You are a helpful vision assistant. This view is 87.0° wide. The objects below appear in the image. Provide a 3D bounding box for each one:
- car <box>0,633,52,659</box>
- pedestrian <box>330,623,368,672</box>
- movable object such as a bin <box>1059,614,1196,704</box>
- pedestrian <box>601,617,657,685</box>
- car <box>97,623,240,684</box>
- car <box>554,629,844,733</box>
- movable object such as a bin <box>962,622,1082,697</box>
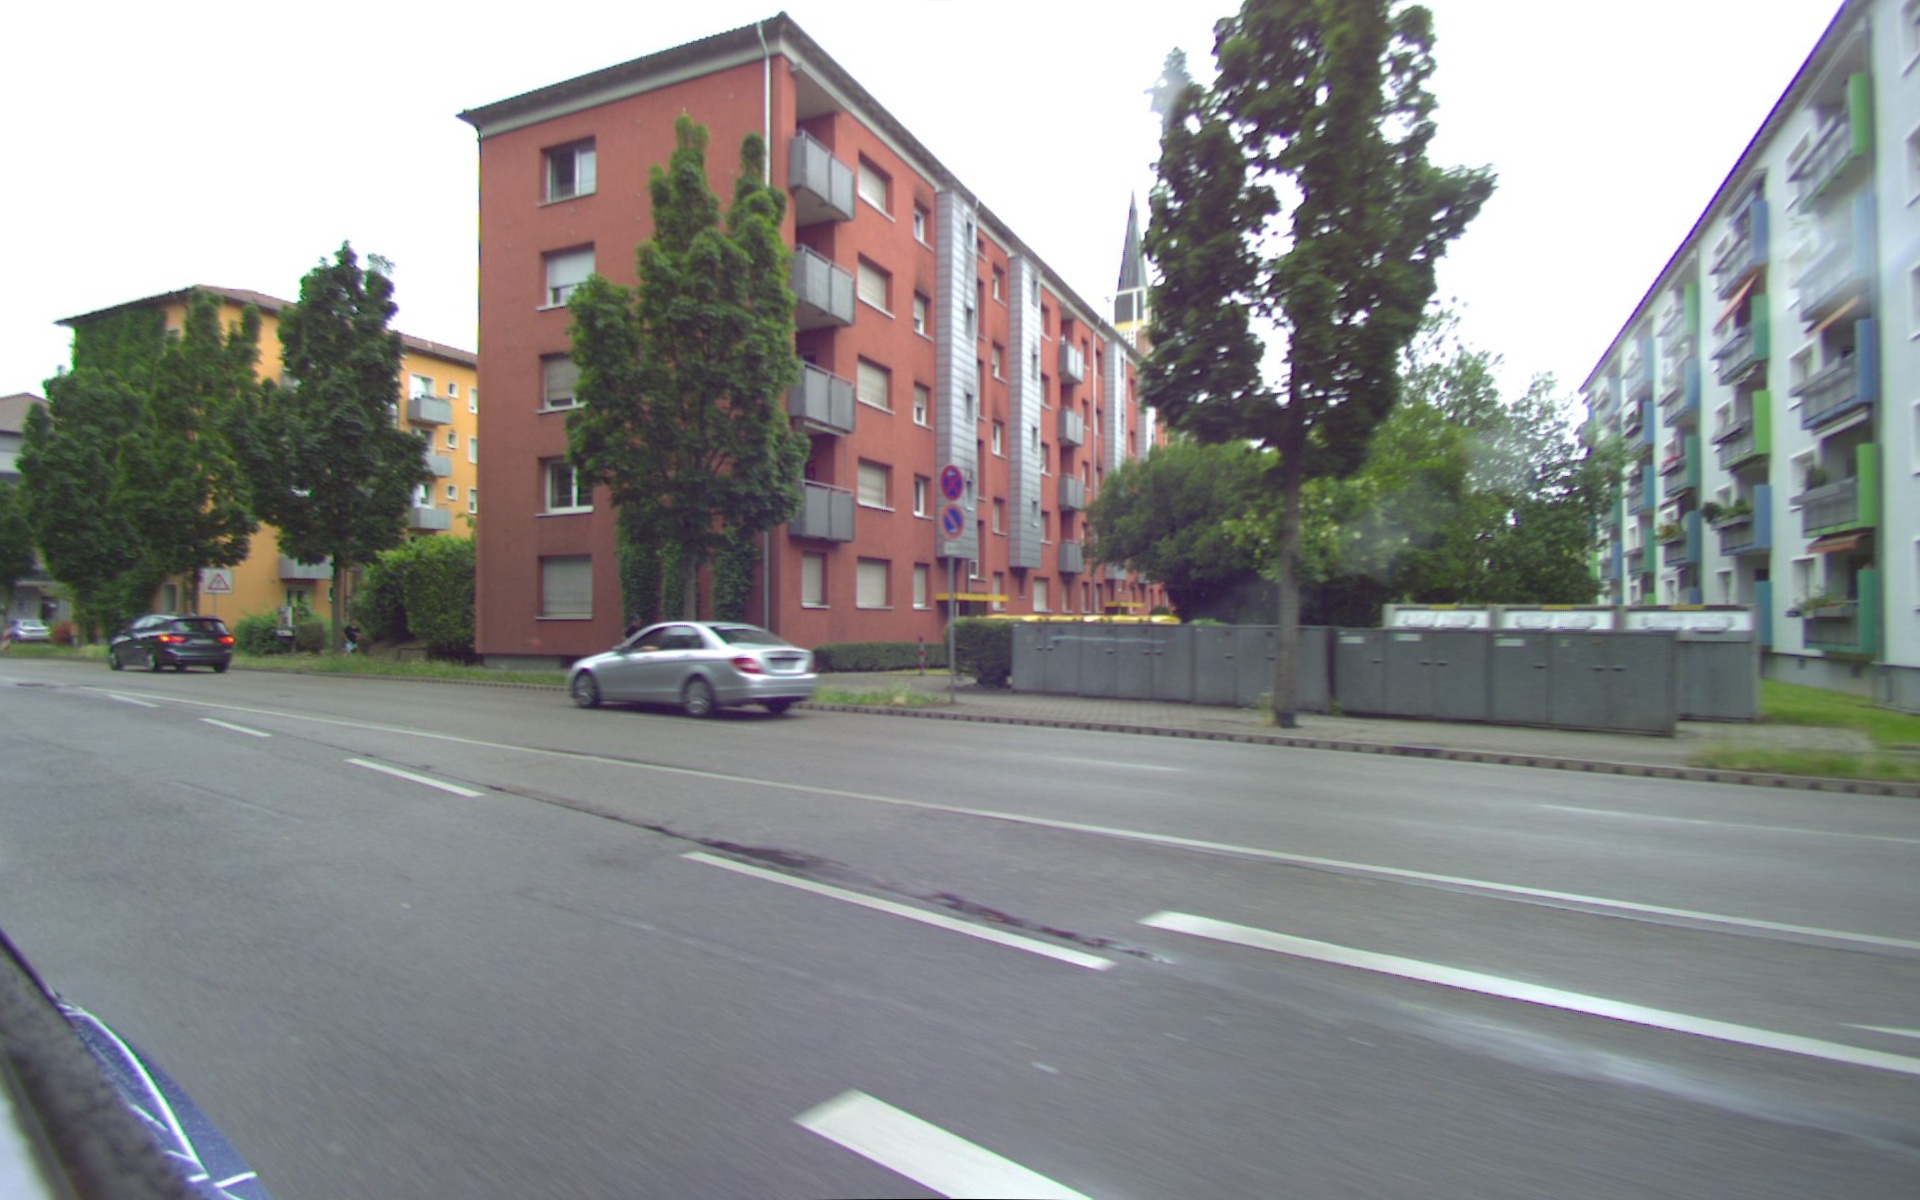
[{"bbox_3d":[-57.070,2.754,61.375,4.211,1.537,1.718,-1,-3,30],"label":"car"},{"bbox_3d":[-18.243,1.415,30.223,0.833,1.460,0.666,-2,-3,31],"label":"pedestrian"},{"bbox_3d":[2.954,1.020,17.886,2.082,1.496,1.205,-2,-2,34],"label":"movable object such as a bin"},{"bbox_3d":[-7.602,1.166,23.222,1.066,1.529,0.687,-2,-3,31],"label":"pedestrian"},{"bbox_3d":[-22.383,1.504,28.585,4.452,1.614,1.858,-2,-4,34],"label":"car"},{"bbox_3d":[-4.149,1.190,15.781,4.617,1.401,1.857,-2,-4,36],"label":"car"},{"bbox_3d":[1.172,1.101,19.128,1.961,1.341,1.147,-2,-2,34],"label":"movable object such as a bin"}]
